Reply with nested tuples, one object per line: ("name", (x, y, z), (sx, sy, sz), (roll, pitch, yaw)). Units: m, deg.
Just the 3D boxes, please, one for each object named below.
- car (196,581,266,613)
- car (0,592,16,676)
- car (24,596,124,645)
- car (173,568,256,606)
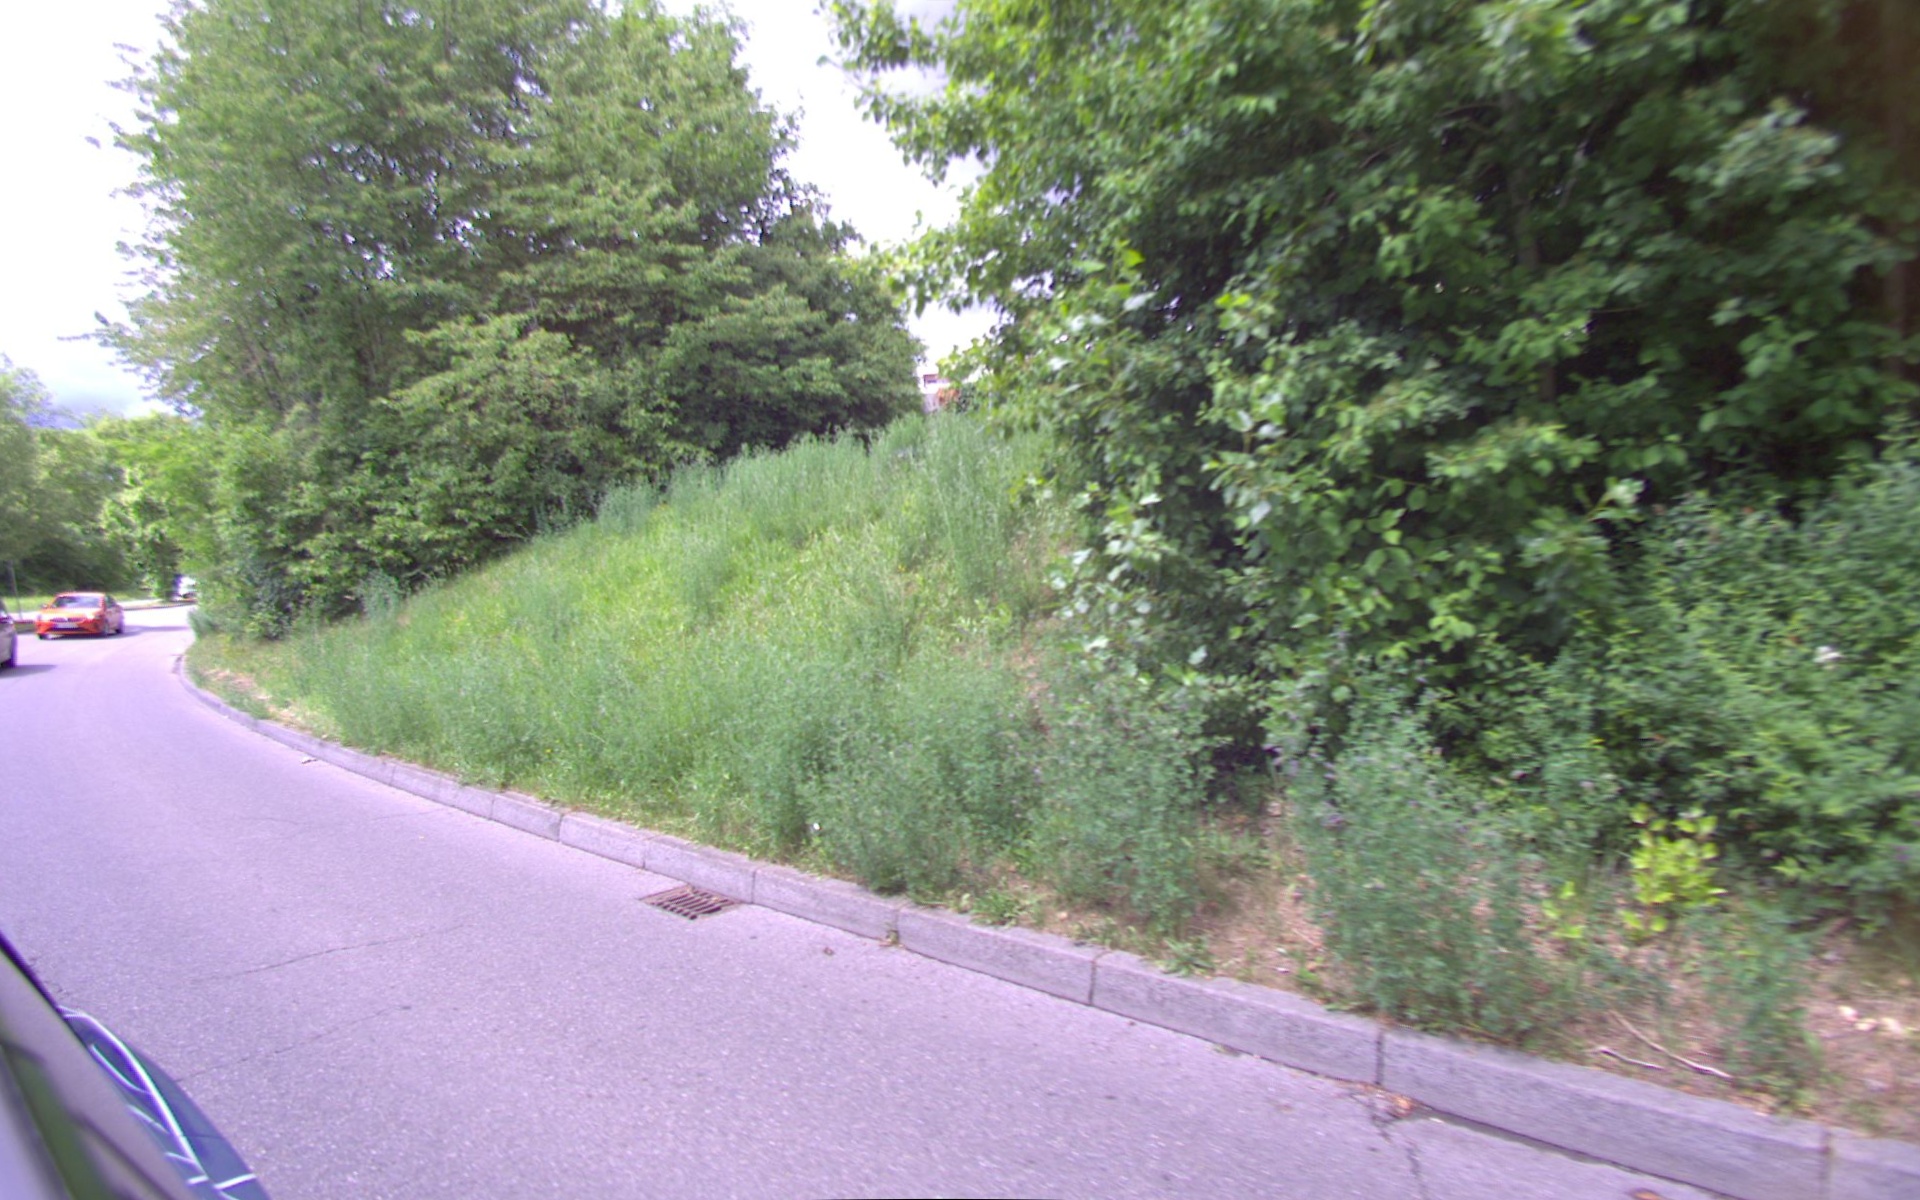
("car", (-37.973, -0.163, 52.821), (1.766, 1.520, 4.126), (-2, 1, -18))
("car", (-20.883, 0.725, 20.679), (1.882, 1.711, 4.397), (0, 1, -37))
("car", (-29.192, 0.616, 33.476), (1.766, 1.423, 4.126), (0, 1, -31))
("car", (-42.805, -0.805, 58.254), (1.840, 2.074, 5.442), (0, 2, -13))
